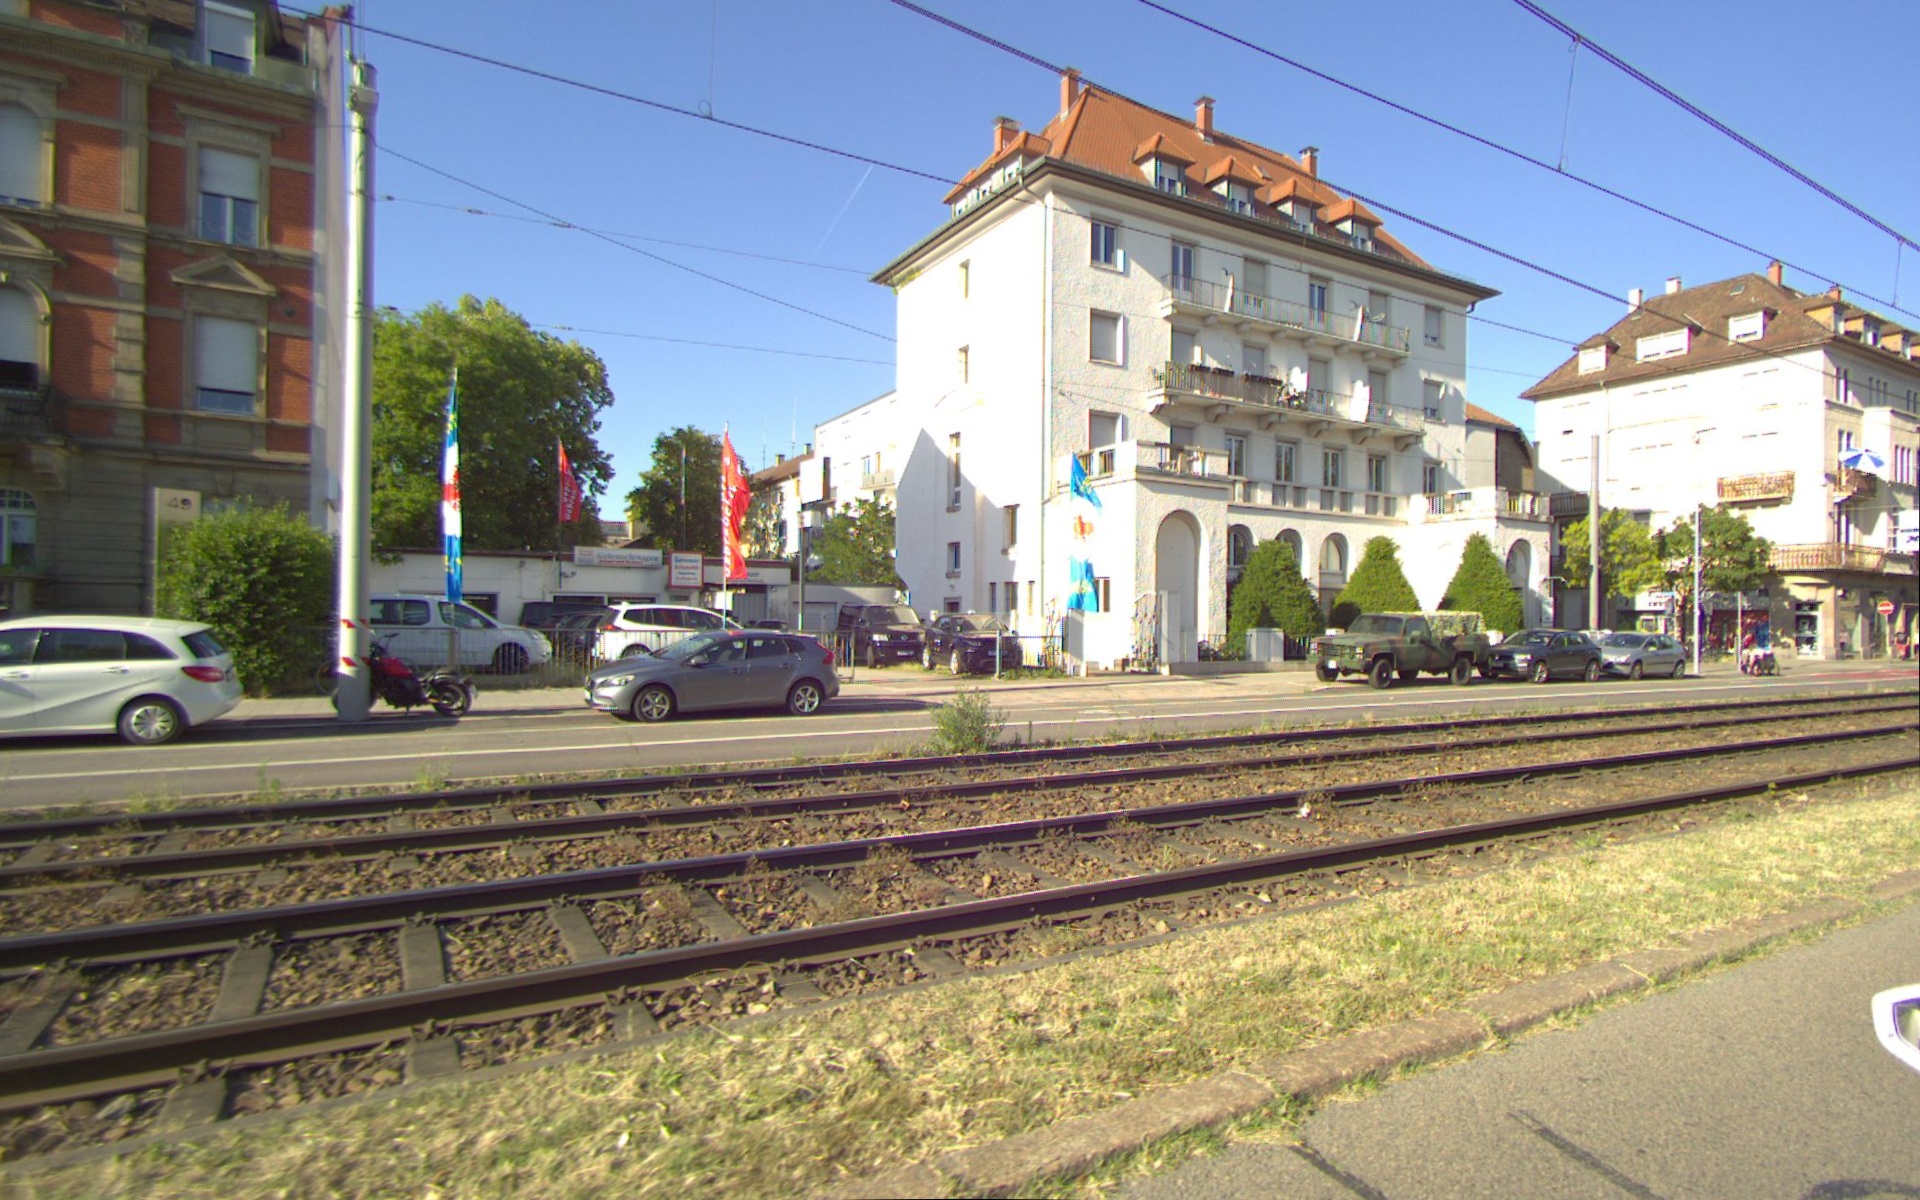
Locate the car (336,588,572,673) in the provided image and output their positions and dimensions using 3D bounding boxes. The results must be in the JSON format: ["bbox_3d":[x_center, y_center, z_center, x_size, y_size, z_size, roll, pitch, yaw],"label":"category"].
[{"bbox_3d":[-11.284,0.729,22.685,4.503,1.677,1.898,3,-3,-27],"label":"car"}]

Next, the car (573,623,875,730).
[{"bbox_3d":[-4.086,1.240,17.620,4.788,1.480,1.910,1,4,-32],"label":"car"}]

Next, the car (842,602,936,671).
[{"bbox_3d":[-2.346,1.105,32.032,1.958,2.029,4.066,-1,-1,-20],"label":"car"}]

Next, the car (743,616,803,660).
[{"bbox_3d":[-7.620,1.514,40.635,1.710,1.524,3.981,2,0,-20],"label":"car"}]

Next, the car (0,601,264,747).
[{"bbox_3d":[-12.032,0.897,12.955,4.781,1.717,1.913,1,0,-28],"label":"car"}]

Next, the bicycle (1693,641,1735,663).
[{"bbox_3d":[36.656,2.522,48.840,2.382,1.029,0.681,1,1,-28],"label":"bicycle"}]

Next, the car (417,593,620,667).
[{"bbox_3d":[-11.114,0.800,25.451,4.503,1.677,1.898,3,-3,-27],"label":"car"}]

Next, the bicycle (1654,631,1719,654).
[{"bbox_3d":[39.274,2.301,54.343,0.741,1.176,2.875,1,-2,-22],"label":"bicycle"}]

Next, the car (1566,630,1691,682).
[{"bbox_3d":[22.081,1.823,33.152,3.951,1.530,1.786,2,0,-29],"label":"car"}]

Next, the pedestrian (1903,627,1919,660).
[{"bbox_3d":[49.549,2.260,52.139,0.847,1.719,0.587,2,0,-28],"label":"pedestrian"}]

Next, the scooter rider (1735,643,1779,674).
[{"bbox_3d":[28.610,2.100,36.070,0.792,1.103,0.979,0,-1,1],"label":"scooter rider"}]

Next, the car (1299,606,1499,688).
[{"bbox_3d":[12.124,1.258,27.677,5.522,2.037,2.068,1,1,-28],"label":"car"}]

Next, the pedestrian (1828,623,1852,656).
[{"bbox_3d":[46.123,2.064,52.640,0.943,1.683,0.637,2,0,-28],"label":"pedestrian"}]

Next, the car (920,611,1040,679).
[{"bbox_3d":[0.455,1.179,27.564,1.921,1.655,4.123,-1,-1,-20],"label":"car"}]

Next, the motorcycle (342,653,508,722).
[{"bbox_3d":[-8.277,1.363,15.635,2.116,0.967,0.826,2,0,-16],"label":"motorcycle"}]

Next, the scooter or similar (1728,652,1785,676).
[{"bbox_3d":[28.608,2.293,36.108,0.792,0.780,1.570,0,-2,2],"label":"scooter or similar"}]

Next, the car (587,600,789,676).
[{"bbox_3d":[-6.701,0.977,24.827,4.503,1.677,1.898,3,-3,-27],"label":"car"}]

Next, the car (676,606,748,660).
[{"bbox_3d":[-9.502,1.277,38.289,1.912,1.910,3.975,2,-3,-25],"label":"car"}]

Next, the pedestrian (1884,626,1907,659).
[{"bbox_3d":[49.133,2.243,52.766,0.847,1.719,0.587,2,0,-28],"label":"pedestrian"}]

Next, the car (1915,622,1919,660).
[{"bbox_3d":[48.742,2.028,49.097,4.351,1.810,1.853,1,1,-31],"label":"car"}]

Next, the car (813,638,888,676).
[{"bbox_3d":[-4.788,2.407,43.398,1.779,1.530,3.968,1,-2,-30],"label":"car"}]

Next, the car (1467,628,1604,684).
[{"bbox_3d":[17.340,1.668,30.227,4.107,1.527,1.628,2,0,-28],"label":"car"}]
